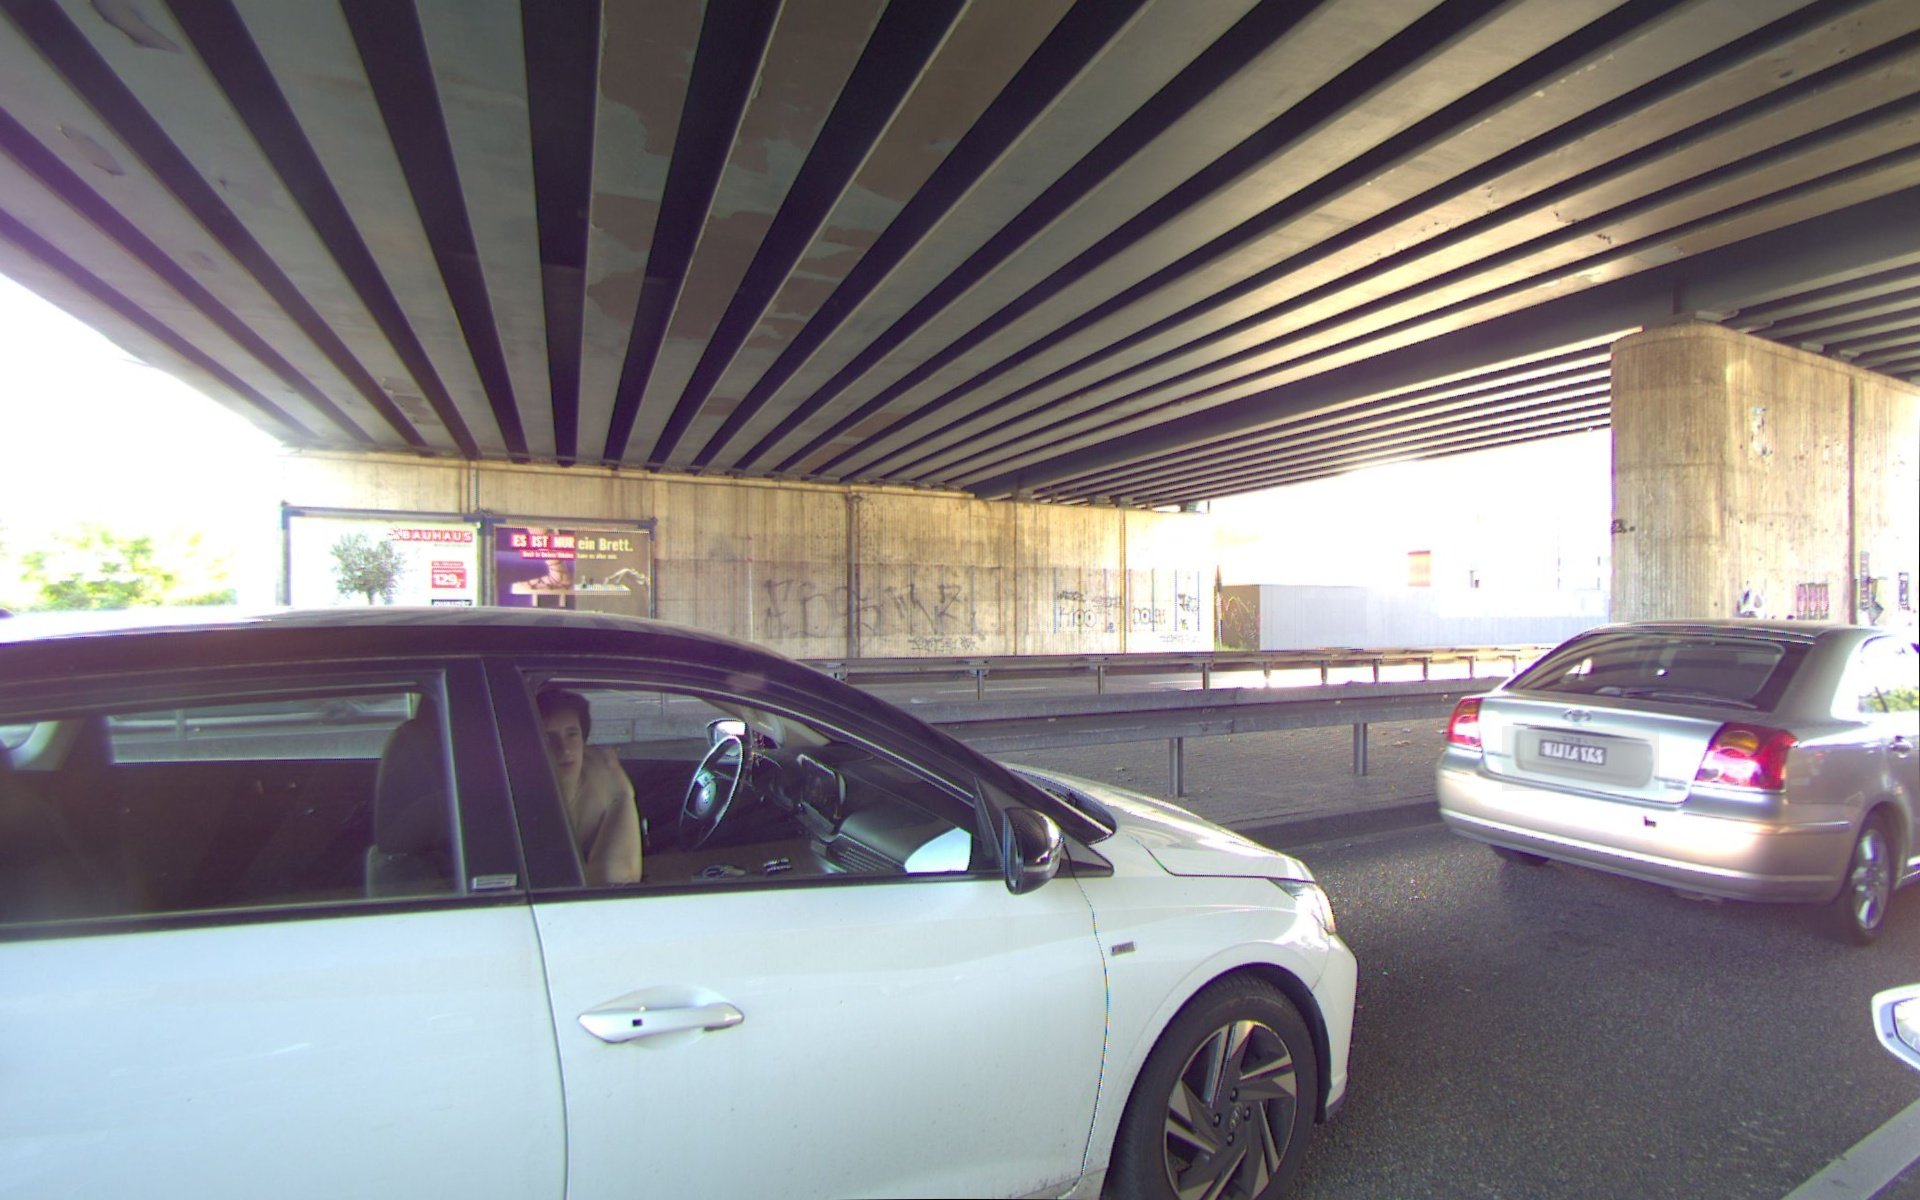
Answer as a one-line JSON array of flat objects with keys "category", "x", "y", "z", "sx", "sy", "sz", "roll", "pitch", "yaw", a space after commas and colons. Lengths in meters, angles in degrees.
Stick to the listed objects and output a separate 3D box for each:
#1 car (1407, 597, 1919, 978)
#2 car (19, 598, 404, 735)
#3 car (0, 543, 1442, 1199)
[{"category": "car", "x": 4.677, "y": 0.784, "z": 5.819, "sx": 4.270, "sy": 1.499, "sz": 1.724, "roll": 1, "pitch": -1, "yaw": -32}, {"category": "car", "x": -9.445, "y": 0.771, "z": 13.019, "sx": 3.786, "sy": 1.540, "sz": 1.608, "roll": 1, "pitch": -1, "yaw": -35}, {"category": "car", "x": -0.795, "y": 0.709, "z": 2.345, "sx": 3.950, "sy": 1.499, "sz": 1.722, "roll": 2, "pitch": -1, "yaw": -34}]
